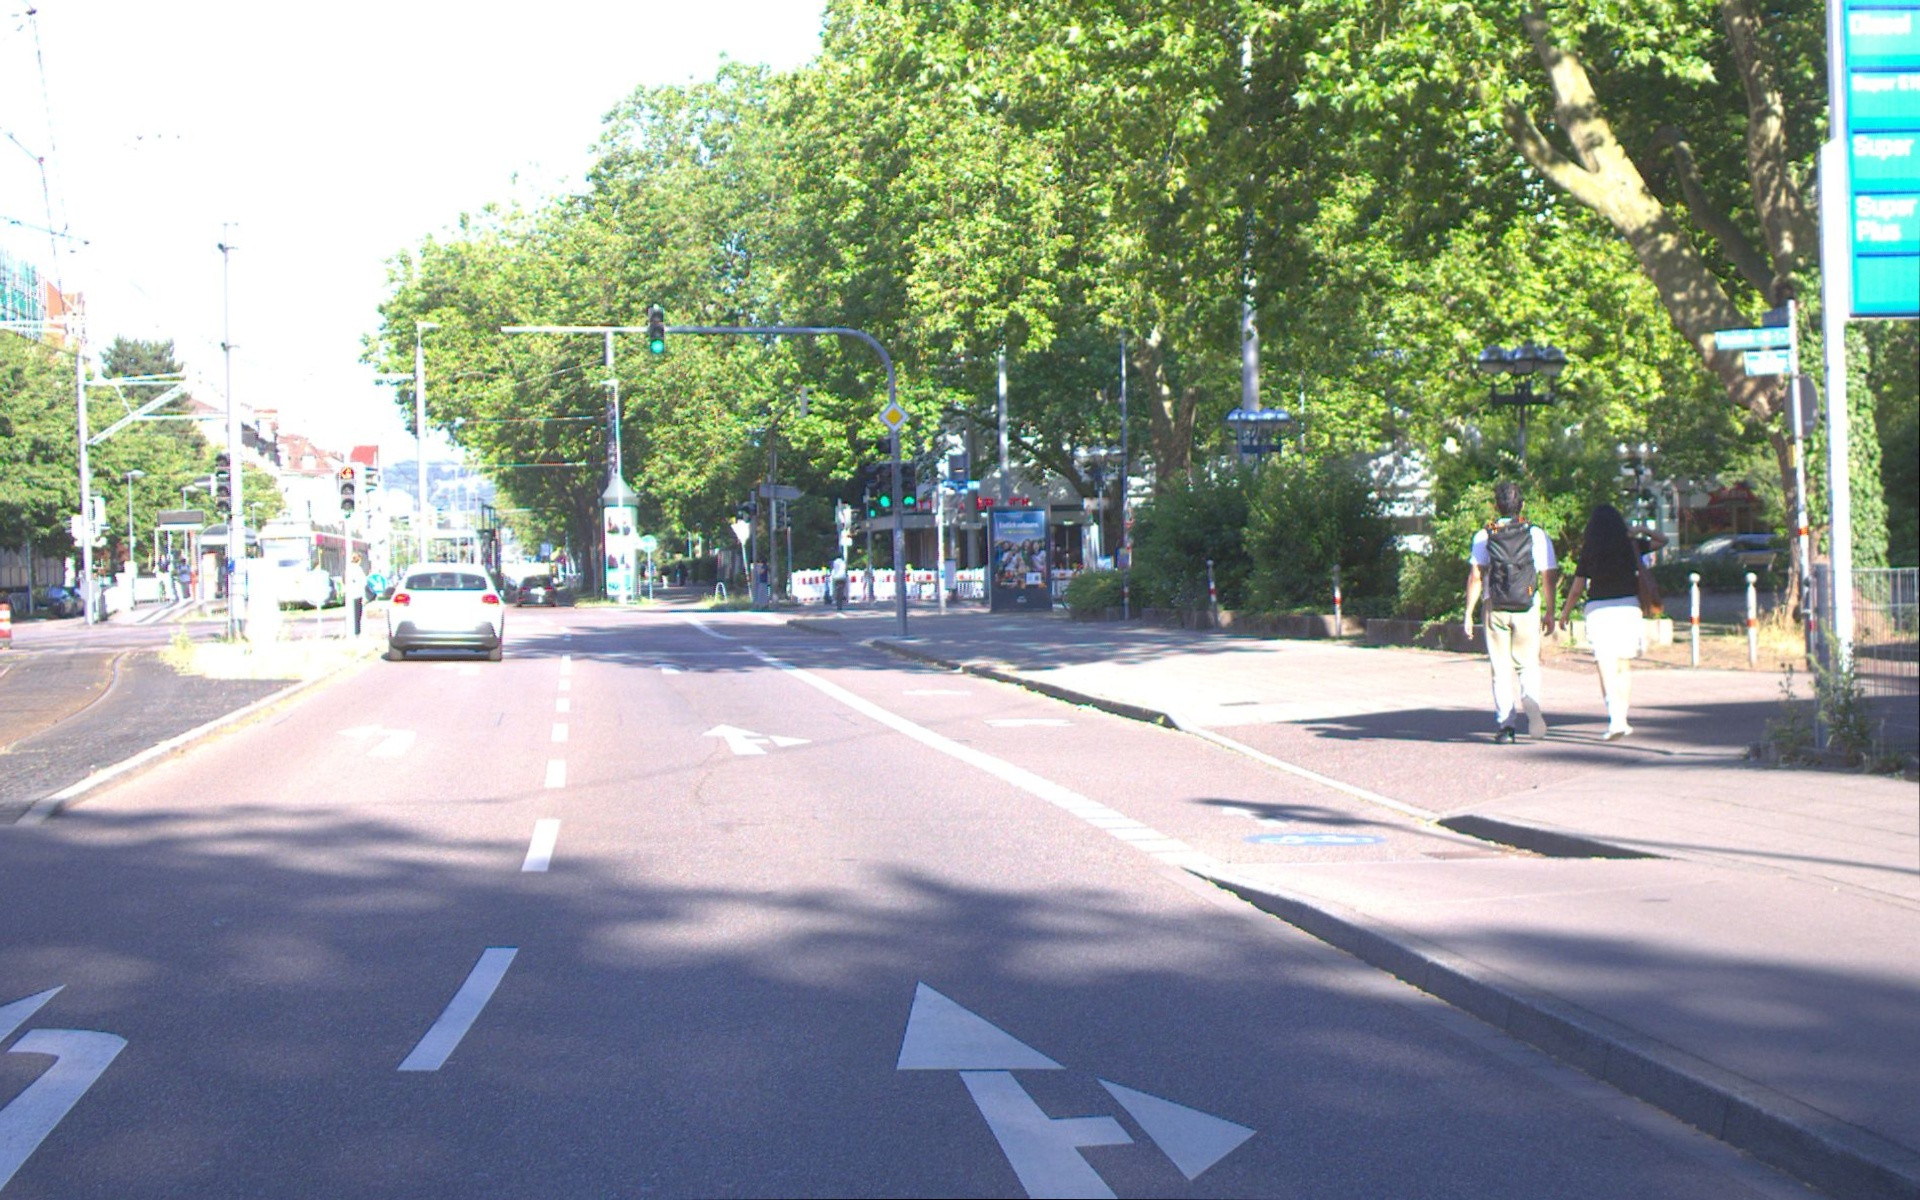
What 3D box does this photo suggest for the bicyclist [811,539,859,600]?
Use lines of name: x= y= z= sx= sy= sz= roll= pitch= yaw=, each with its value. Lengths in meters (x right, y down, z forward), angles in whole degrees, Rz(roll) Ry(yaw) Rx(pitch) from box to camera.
bicyclist: x=-3.564 y=-0.867 z=97.912 sx=1.198 sy=1.691 sz=0.904 roll=1 pitch=1 yaw=-12

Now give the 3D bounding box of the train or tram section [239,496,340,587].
train or tram section: x=-26.184 y=-2.308 z=134.712 sx=2.952 sy=3.398 sz=10.793 roll=1 pitch=1 yaw=-6

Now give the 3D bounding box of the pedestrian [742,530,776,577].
pedestrian: x=-5.963 y=-1.386 z=102.008 sx=0.660 sy=1.383 sz=0.831 roll=1 pitch=1 yaw=26

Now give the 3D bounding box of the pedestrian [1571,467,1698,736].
pedestrian: x=4.586 y=0.005 z=23.402 sx=0.603 sy=1.770 sz=0.690 roll=-4 pitch=1 yaw=-3

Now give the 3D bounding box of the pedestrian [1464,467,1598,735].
pedestrian: x=3.927 y=-0.003 z=23.703 sx=0.603 sy=1.770 sz=0.879 roll=-5 pitch=1 yaw=-3

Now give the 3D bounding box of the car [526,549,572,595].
car: x=-18.832 y=-1.302 z=157.702 sx=1.993 sy=2.007 sz=4.001 roll=1 pitch=1 yaw=-6

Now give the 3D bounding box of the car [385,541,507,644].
car: x=-7.794 y=-0.137 z=52.335 sx=1.745 sy=1.457 sz=3.645 roll=1 pitch=1 yaw=-7

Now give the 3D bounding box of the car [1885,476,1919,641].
car: x=10.505 y=-0.368 z=32.106 sx=1.817 sy=1.596 sz=4.664 roll=-2 pitch=2 yaw=-9

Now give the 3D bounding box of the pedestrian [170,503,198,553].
pedestrian: x=-28.511 y=-2.639 z=126.273 sx=0.962 sy=1.827 sz=0.990 roll=1 pitch=1 yaw=-13

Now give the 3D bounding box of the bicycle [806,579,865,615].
bicycle: x=-3.557 y=-0.094 z=97.868 sx=1.198 sy=0.931 sz=2.575 roll=1 pitch=1 yaw=-13
